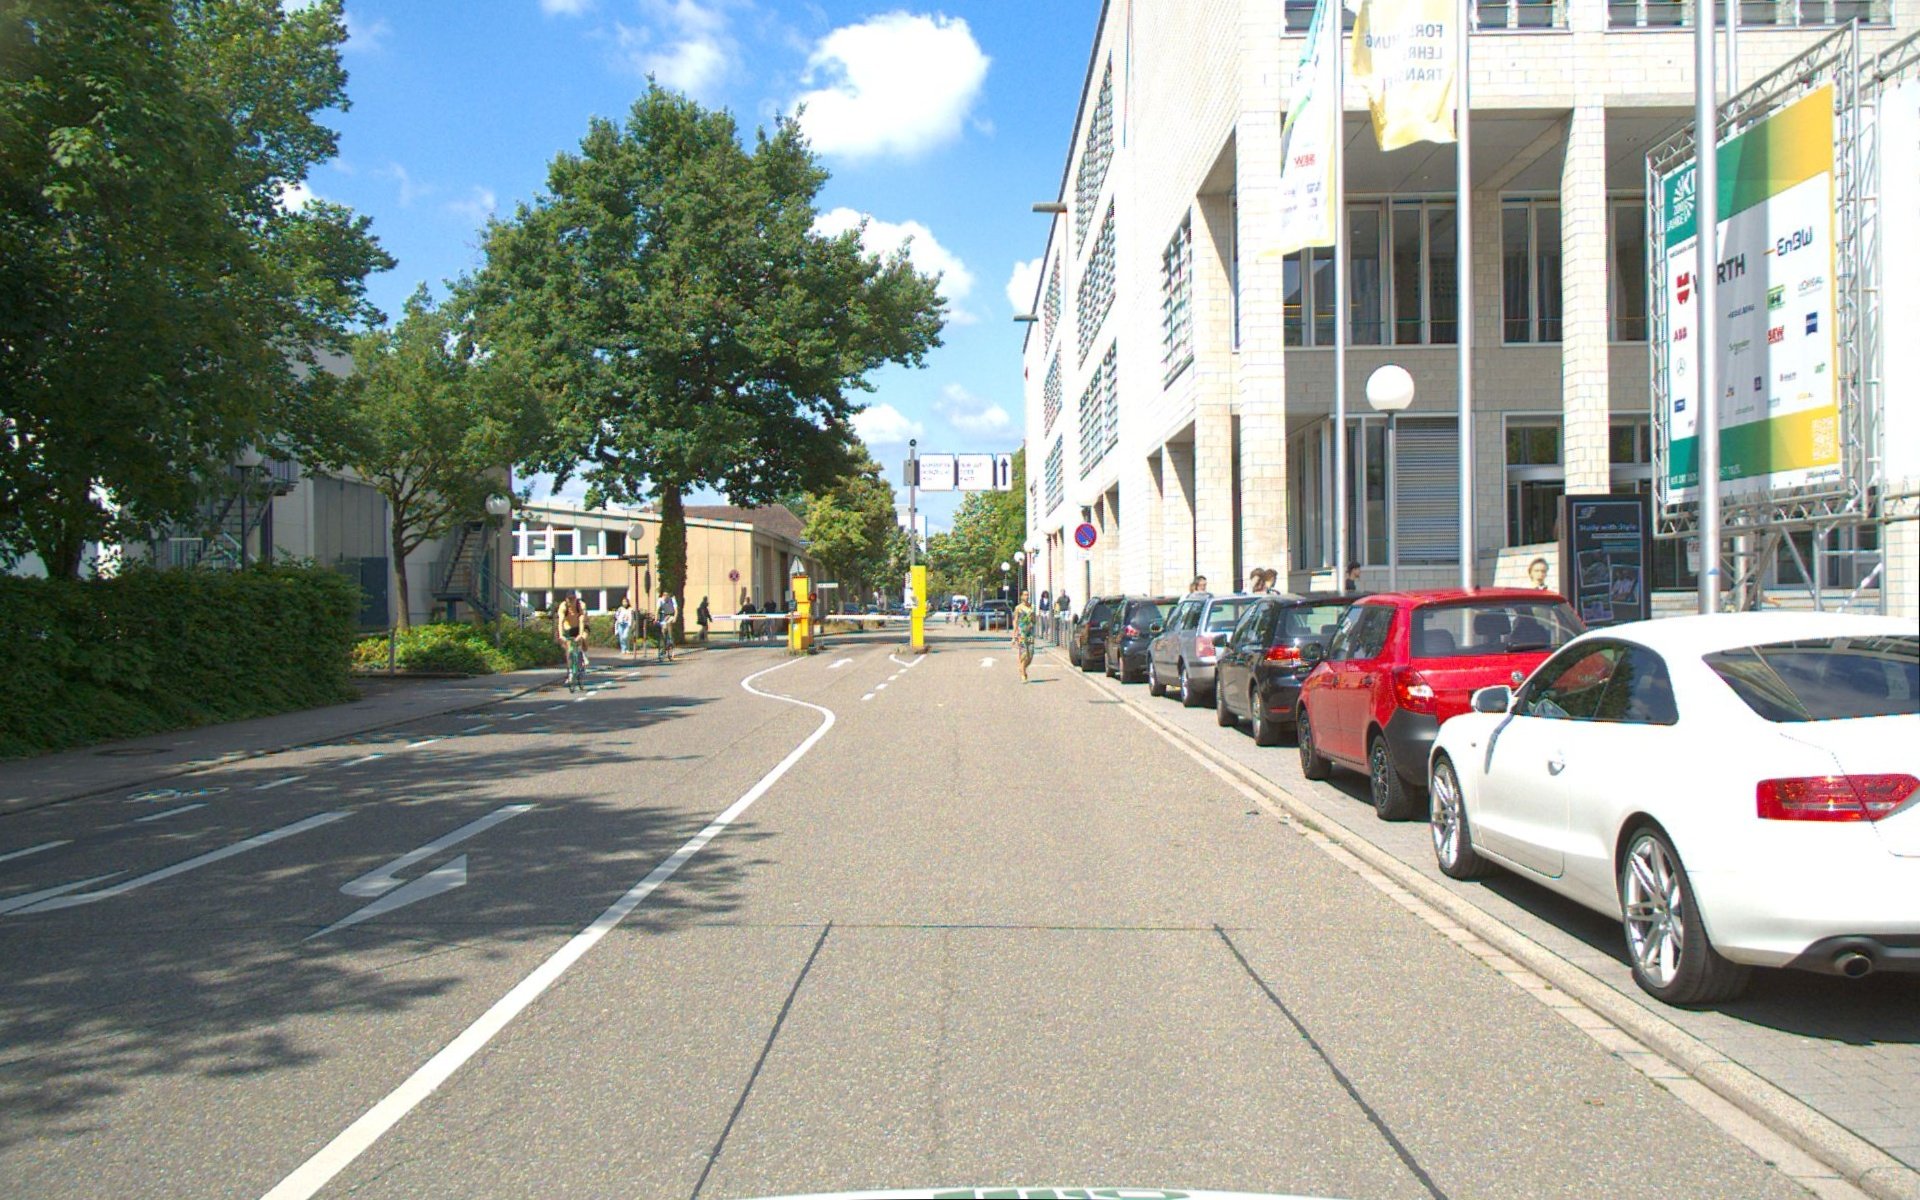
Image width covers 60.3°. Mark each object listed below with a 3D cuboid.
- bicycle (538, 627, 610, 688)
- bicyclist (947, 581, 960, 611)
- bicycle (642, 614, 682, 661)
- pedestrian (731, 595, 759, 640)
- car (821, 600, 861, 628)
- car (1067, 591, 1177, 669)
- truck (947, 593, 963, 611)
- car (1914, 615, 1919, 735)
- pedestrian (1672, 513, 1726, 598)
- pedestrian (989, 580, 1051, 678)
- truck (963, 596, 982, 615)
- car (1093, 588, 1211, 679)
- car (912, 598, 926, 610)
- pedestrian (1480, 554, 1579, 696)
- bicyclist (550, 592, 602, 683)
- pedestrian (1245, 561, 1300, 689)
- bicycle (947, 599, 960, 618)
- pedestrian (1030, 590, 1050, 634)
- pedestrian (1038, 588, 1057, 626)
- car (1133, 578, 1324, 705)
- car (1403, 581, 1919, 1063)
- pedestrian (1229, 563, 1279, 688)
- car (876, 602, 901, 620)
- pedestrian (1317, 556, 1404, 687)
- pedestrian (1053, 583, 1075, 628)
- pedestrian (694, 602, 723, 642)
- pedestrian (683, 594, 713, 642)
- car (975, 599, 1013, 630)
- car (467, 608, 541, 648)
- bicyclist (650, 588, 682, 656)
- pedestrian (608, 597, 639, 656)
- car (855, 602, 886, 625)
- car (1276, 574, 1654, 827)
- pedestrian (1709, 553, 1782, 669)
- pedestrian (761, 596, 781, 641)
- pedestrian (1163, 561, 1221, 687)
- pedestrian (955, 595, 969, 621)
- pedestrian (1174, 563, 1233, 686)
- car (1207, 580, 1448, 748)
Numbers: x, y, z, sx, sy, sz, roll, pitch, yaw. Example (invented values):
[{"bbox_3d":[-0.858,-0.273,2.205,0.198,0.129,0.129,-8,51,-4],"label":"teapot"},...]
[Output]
[{"bbox_3d":[-6.828,0.999,29.366,0.777,1.006,2.209,-1,0,-1],"label":"bicycle"},{"bbox_3d":[-0.487,-0.296,123.985,0.967,2.169,1.036,-1,-2,-1],"label":"bicyclist"},{"bbox_3d":[-7.956,0.986,44.207,0.678,1.191,2.209,-1,0,-1],"label":"bicycle"},{"bbox_3d":[-9.009,0.743,69.302,1.034,1.847,0.806,-1,0,-2],"label":"pedestrian"},{"bbox_3d":[-6.895,0.806,96.068,1.952,1.573,4.211,-1,0,0],"label":"car"},{"bbox_3d":[3.310,0.593,34.589,1.828,1.490,4.519,-1,0,0],"label":"car"},{"bbox_3d":[-0.701,0.299,224.090,1.953,2.311,4.613,-1,-2,-2],"label":"truck"},{"bbox_3d":[3.395,0.704,1.908,1.683,1.424,4.948,-3,0,0],"label":"car"},{"bbox_3d":[14.412,-0.863,32.269,0.703,1.613,0.716,-1,-2,2],"label":"pedestrian"},{"bbox_3d":[1.086,0.523,30.088,0.617,1.747,1.029,-1,0,-32],"label":"pedestrian"},{"bbox_3d":[1.455,0.646,193.857,1.953,2.049,3.998,-1,-2,-2],"label":"truck"},{"bbox_3d":[3.423,0.566,30.086,1.581,1.523,4.005,-1,0,-2],"label":"car"},{"bbox_3d":[-6.217,0.598,250.695,1.952,1.751,4.000,-1,-2,2],"label":"car"},{"bbox_3d":[7.321,0.318,21.297,0.899,1.770,1.001,-1,0,0],"label":"pedestrian"},{"bbox_3d":[-6.837,0.657,29.508,0.678,1.575,1.018,-1,-1,-1],"label":"bicyclist"},{"bbox_3d":[4.860,0.381,25.759,0.709,1.959,0.593,-1,0,0],"label":"pedestrian"},{"bbox_3d":[-0.495,0.633,123.682,0.967,1.339,2.963,-1,-2,-1],"label":"bicycle"},{"bbox_3d":[3.329,0.484,68.823,0.681,1.811,1.085,-2,0,-2],"label":"pedestrian"},{"bbox_3d":[3.902,0.322,74.096,0.726,1.661,0.887,-2,0,-2],"label":"pedestrian"},{"bbox_3d":[3.684,0.534,23.491,1.685,1.556,4.563,-2,0,-3],"label":"car"},{"bbox_3d":[3.444,0.680,7.364,1.683,1.424,4.438,-3,0,0],"label":"car"},{"bbox_3d":[4.705,0.409,26.445,0.708,1.959,0.752,-1,0,13],"label":"pedestrian"},{"bbox_3d":[-6.308,0.951,146.159,1.952,1.573,4.211,-1,0,0],"label":"car"},{"bbox_3d":[6.132,0.325,25.368,1.072,1.953,1.021,-1,0,1],"label":"pedestrian"},{"bbox_3d":[4.319,0.213,68.811,0.751,1.811,0.910,-2,0,-2],"label":"pedestrian"},{"bbox_3d":[-10.642,0.925,69.956,0.866,1.661,0.896,-1,-1,22],"label":"pedestrian"},{"bbox_3d":[-10.906,0.750,68.924,0.866,1.959,1.006,-1,-1,22],"label":"pedestrian"},{"bbox_3d":[1.802,0.769,88.803,1.953,1.573,4.211,-1,0,0],"label":"car"},{"bbox_3d":[-17.794,1.068,64.722,1.792,1.492,4.298,-1,0,-1],"label":"car"},{"bbox_3d":[-7.835,0.585,44.102,0.678,1.767,0.918,-1,-1,-1],"label":"bicyclist"},{"bbox_3d":[-9.676,0.761,47.604,0.698,1.655,0.883,-1,0,-2],"label":"pedestrian"},{"bbox_3d":[-6.399,0.948,118.021,1.952,1.573,4.211,-1,0,0],"label":"car"},{"bbox_3d":[3.593,0.626,12.543,1.581,1.522,4.147,-3,0,1],"label":"car"},{"bbox_3d":[11.589,0.158,24.409,0.685,1.668,0.728,-1,0,-38],"label":"pedestrian"},{"bbox_3d":[-7.912,0.770,69.313,0.691,1.841,1.001,-1,0,-1],"label":"pedestrian"},{"bbox_3d":[3.679,0.375,26.216,0.767,1.959,0.593,-1,0,22],"label":"pedestrian"},{"bbox_3d":[0.120,0.512,103.889,0.875,1.661,0.888,0,-1,2],"label":"pedestrian"},{"bbox_3d":[3.959,0.397,26.872,0.766,1.959,0.734,-1,0,22],"label":"pedestrian"},{"bbox_3d":[3.785,0.611,17.698,1.684,1.556,4.000,-1,0,0],"label":"car"}]
